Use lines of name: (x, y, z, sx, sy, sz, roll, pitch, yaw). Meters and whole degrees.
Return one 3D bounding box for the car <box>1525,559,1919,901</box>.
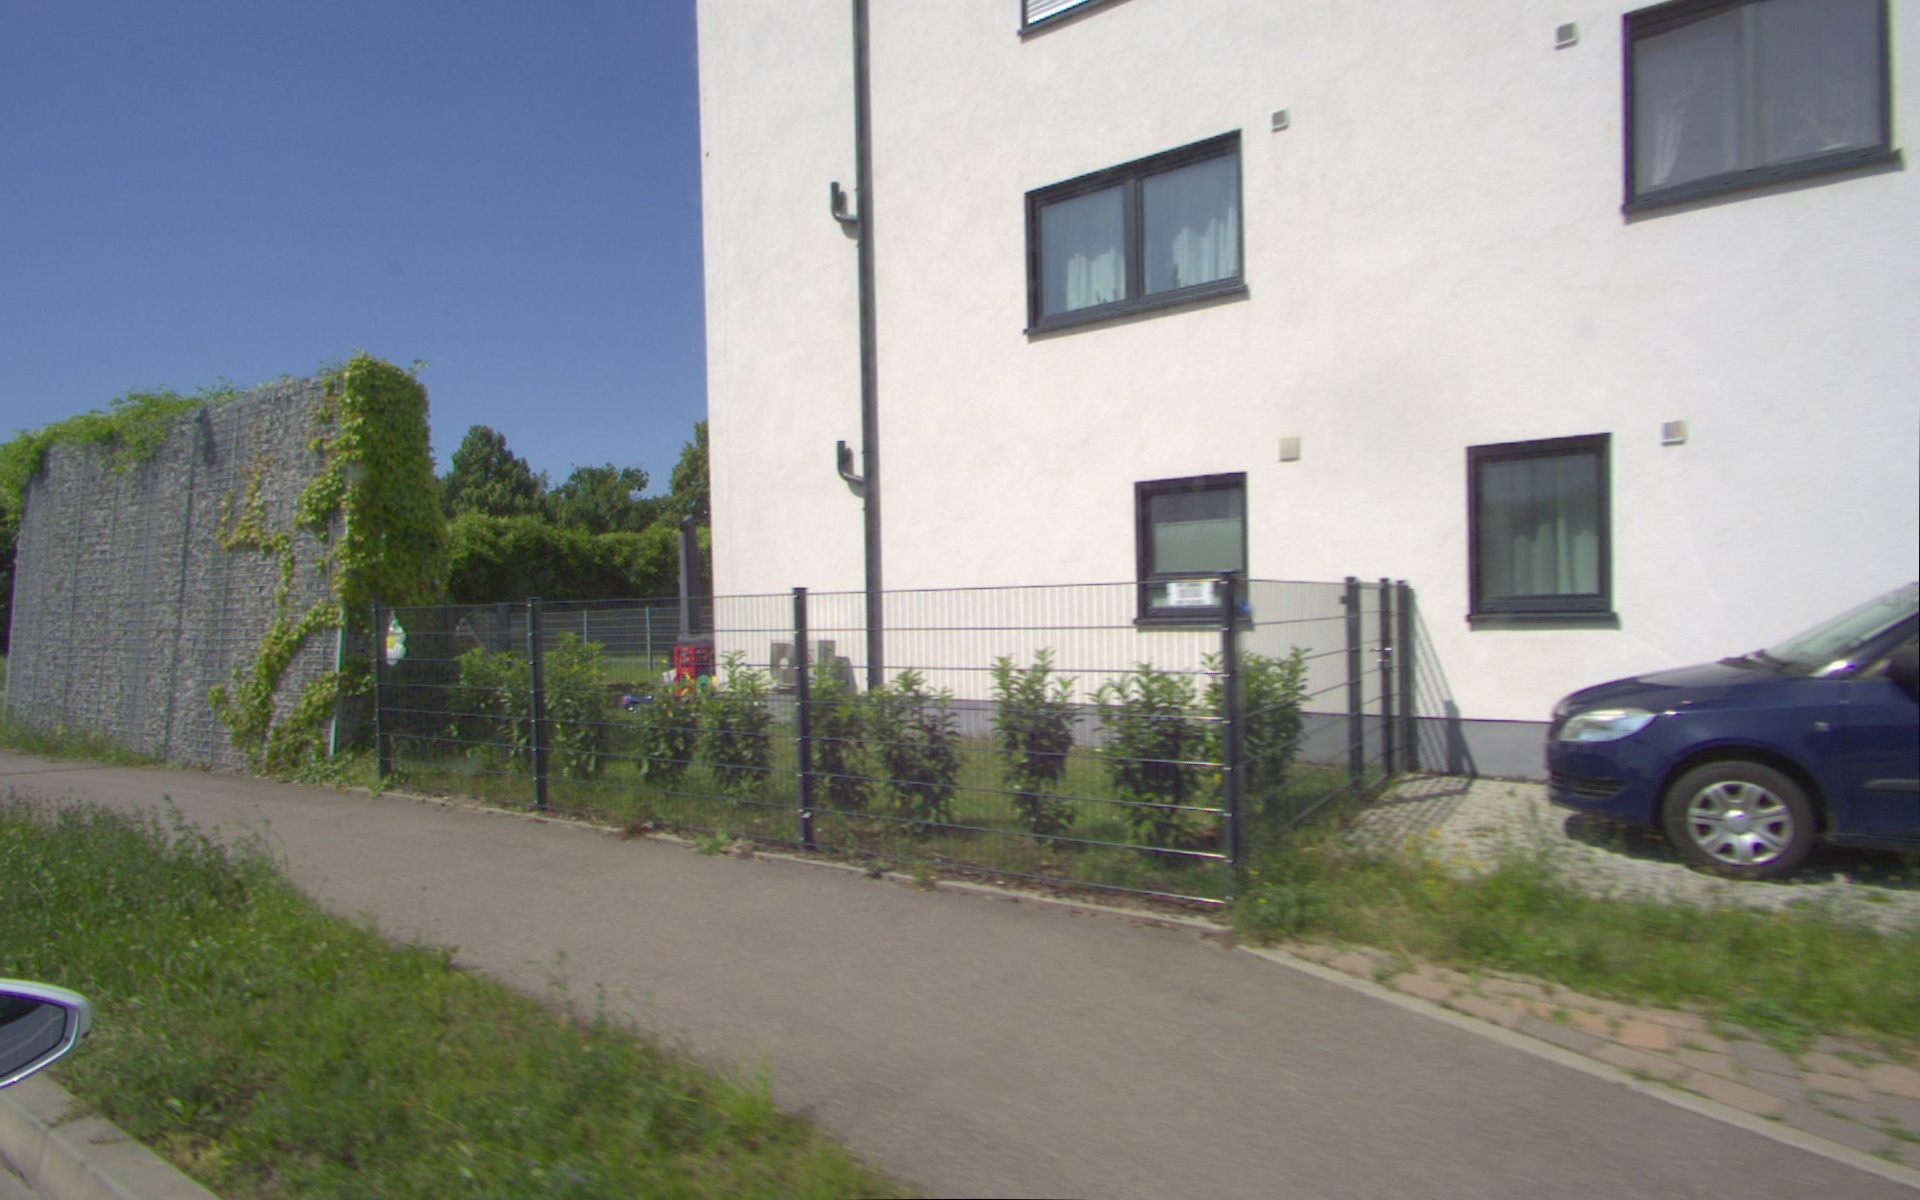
car: (5.068, 0.571, 4.758, 4.059, 1.489, 1.673, 0, 0, 34)
